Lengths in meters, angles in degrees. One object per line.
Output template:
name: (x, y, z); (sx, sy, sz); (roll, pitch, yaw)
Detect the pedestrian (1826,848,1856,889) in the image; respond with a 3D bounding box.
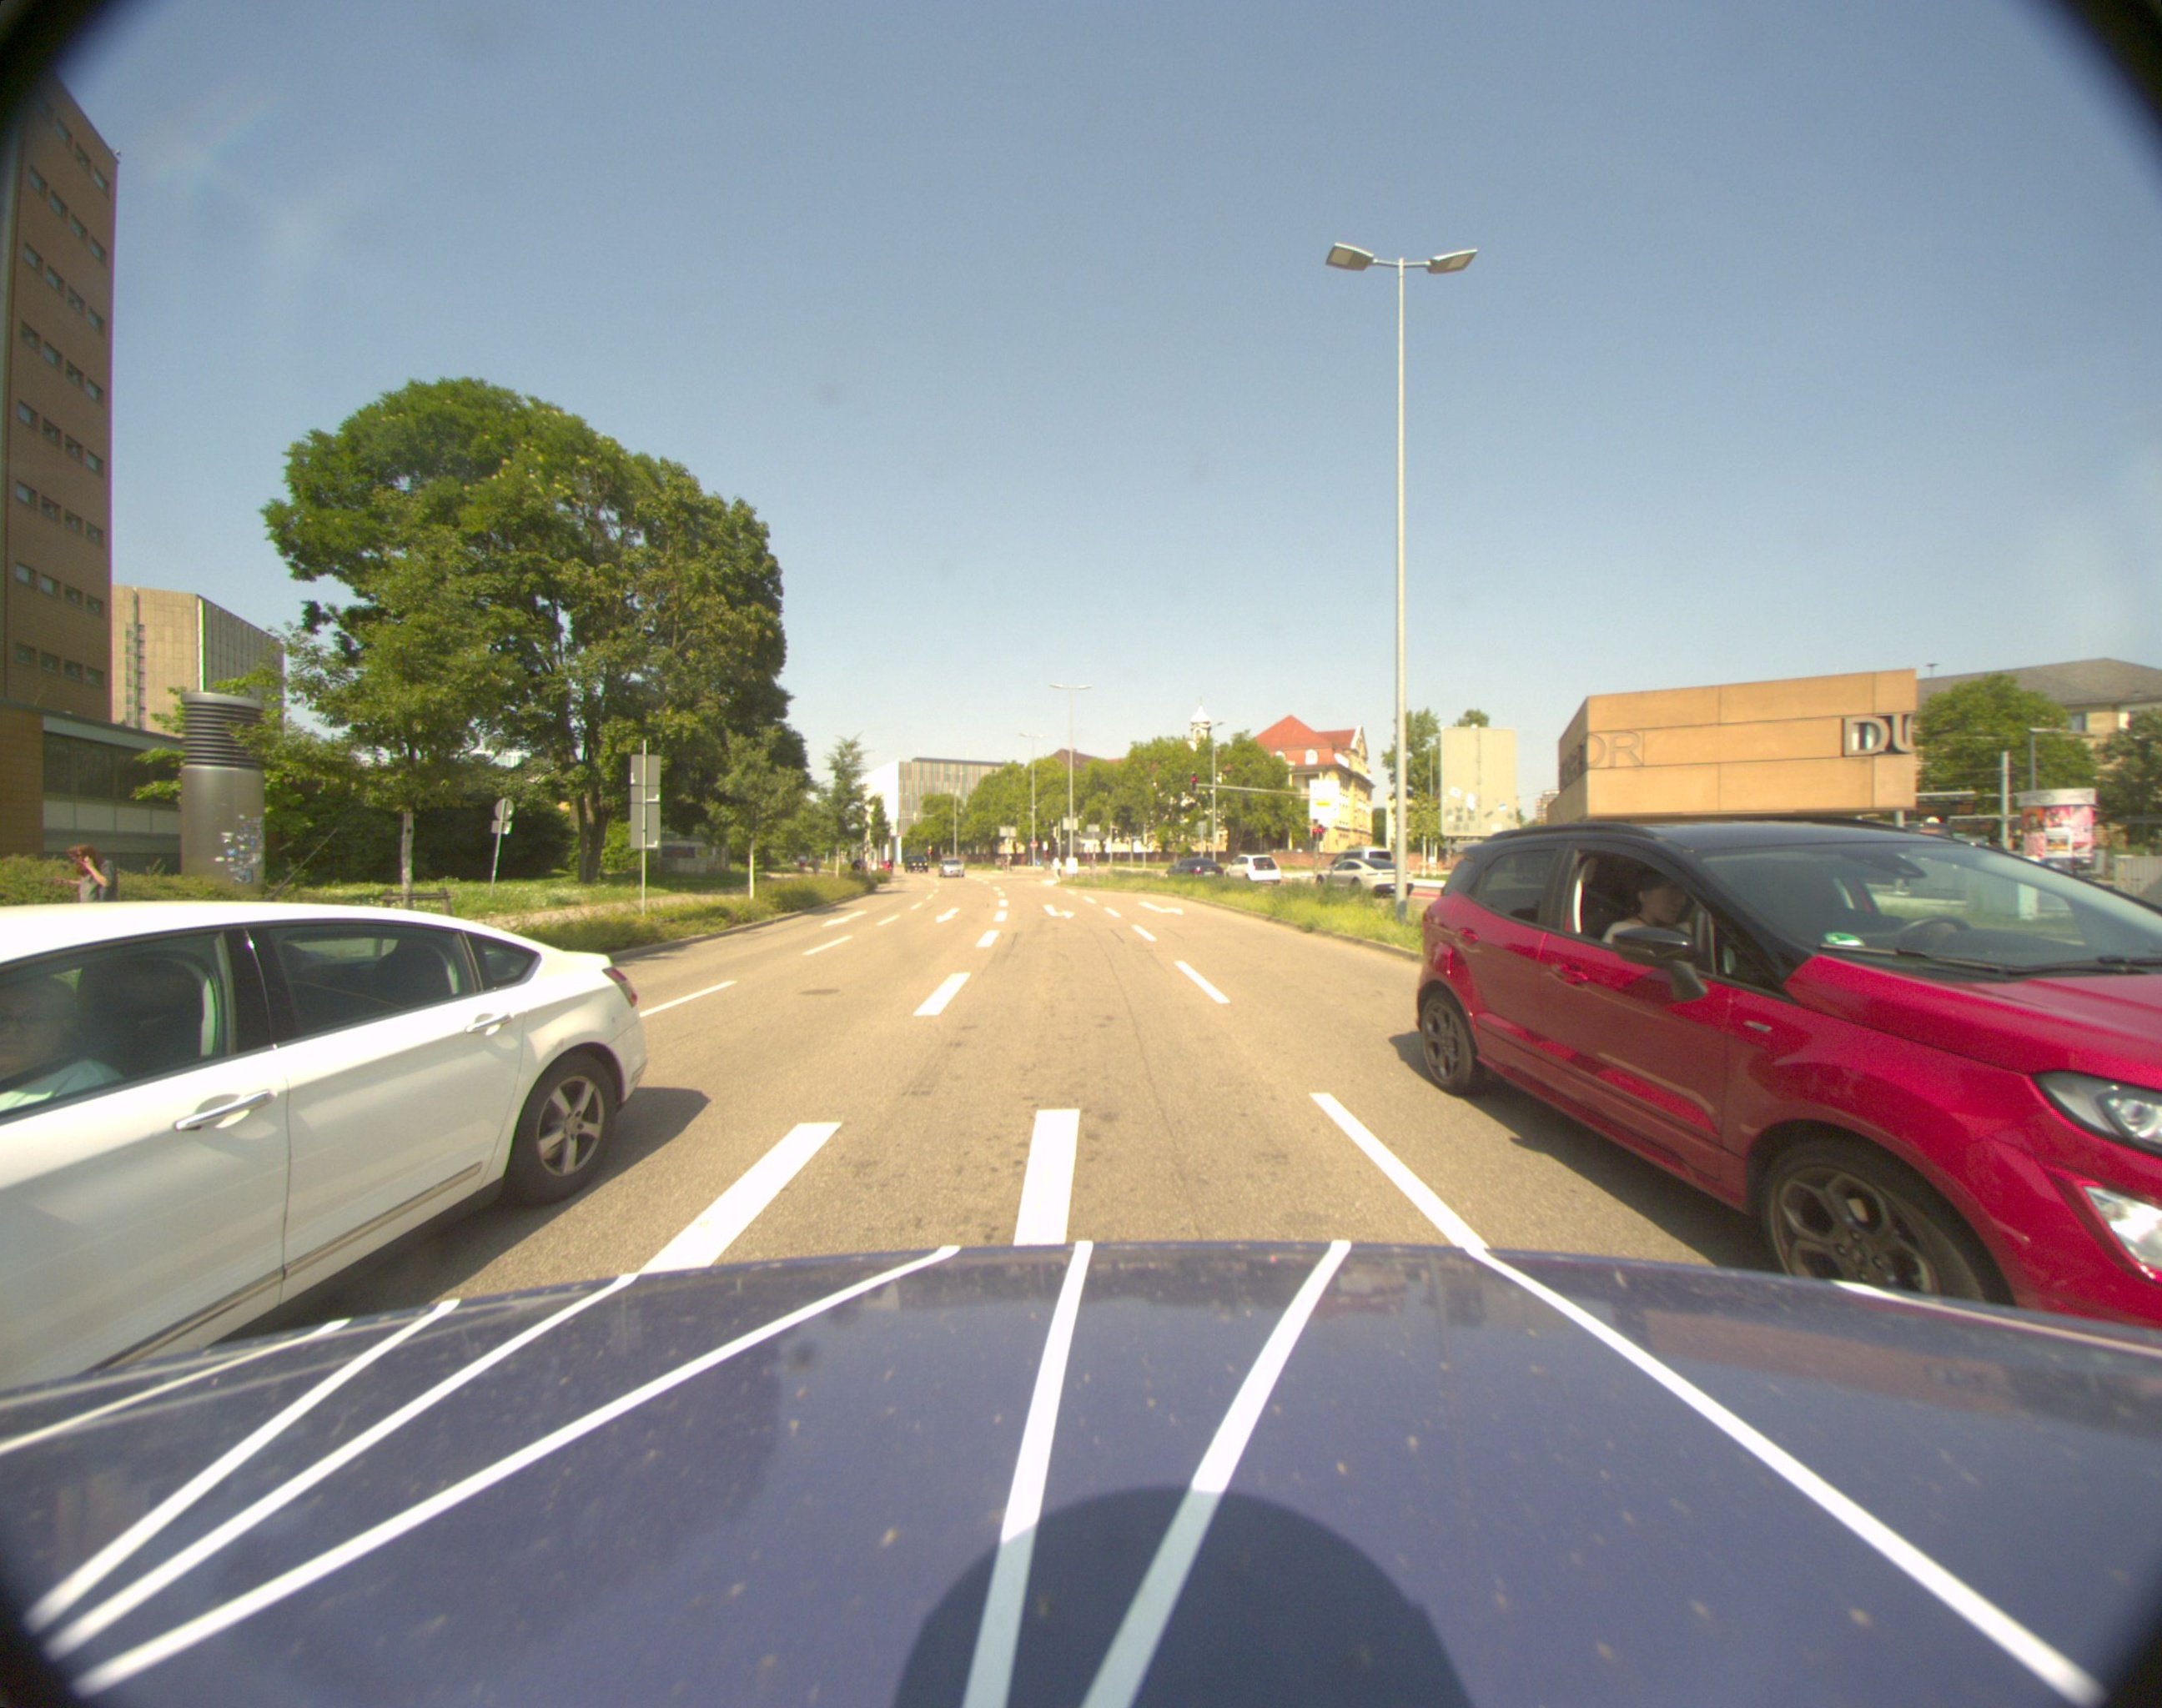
pedestrian: (27.936, 0.512, 27.941); (0.539, 1.488, 0.541); (0, 1, -1)

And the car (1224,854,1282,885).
car: (8.671, 0.745, 38.561); (1.527, 1.470, 3.473); (0, 0, -13)

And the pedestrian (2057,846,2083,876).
pedestrian: (45.550, 0.319, 34.993); (0.554, 1.386, 0.534); (0, 1, 28)

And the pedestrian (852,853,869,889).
pedestrian: (-11.794, 0.912, 40.701); (0.823, 1.892, 0.630); (-1, 1, -12)

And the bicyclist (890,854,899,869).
bicyclist: (-17.832, 0.721, 72.644); (0.680, 1.392, 1.048); (-1, 1, -19)

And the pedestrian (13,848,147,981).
pedestrian: (-13.220, 0.772, 10.063); (0.672, 1.689, 0.806); (0, 0, -1)

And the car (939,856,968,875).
car: (-10.655, 0.936, 63.141); (1.661, 1.521, 4.526); (-2, 0, -18)

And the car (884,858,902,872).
car: (-20.605, 1.177, 83.161); (1.652, 1.422, 3.810); (-2, 0, -18)

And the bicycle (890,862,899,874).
bicycle: (-17.871, 1.326, 72.747); (0.595, 1.162, 2.231); (-1, 0, -19)

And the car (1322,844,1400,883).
car: (13.810, 0.431, 37.743); (1.869, 1.843, 3.911); (0, 1, -12)

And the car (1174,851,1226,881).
car: (5.729, 0.551, 36.869); (1.526, 1.417, 3.474); (0, 0, -8)

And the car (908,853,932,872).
car: (-17.576, 0.912, 82.702); (1.893, 1.908, 4.526); (-2, 0, -20)

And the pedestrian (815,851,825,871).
pedestrian: (-17.726, 0.464, 51.570); (0.577, 1.291, 0.436); (-3, 1, -19)

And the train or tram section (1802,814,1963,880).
train or tram section: (48.180, -0.391, 46.310); (2.698, 3.418, 13.446); (0, 0, 28)

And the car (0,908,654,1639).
car: (-3.263, 1.019, 1.857); (1.773, 1.420, 4.609); (0, 0, 1)

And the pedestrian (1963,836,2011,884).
pedestrian: (28.160, 0.188, 23.620); (0.771, 1.488, 0.606); (0, 1, -1)

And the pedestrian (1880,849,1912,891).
pedestrian: (28.774, 0.555, 26.825); (0.539, 1.488, 0.541); (0, 1, -1)

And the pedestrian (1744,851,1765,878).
pedestrian: (26.887, 0.416, 30.324); (0.538, 1.093, 0.543); (0, 1, 32)

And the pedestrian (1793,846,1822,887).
pedestrian: (26.708, 0.455, 27.925); (0.539, 1.488, 0.541); (0, 1, -1)

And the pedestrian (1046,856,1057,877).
pedestrian: (-1.875, 0.813, 48.556); (0.605, 1.291, 0.617); (-2, 1, -4)

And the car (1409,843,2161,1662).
car: (3.043, 0.774, 3.299); (1.694, 1.577, 3.845); (-2, 0, 3)

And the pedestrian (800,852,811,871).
pedestrian: (-18.569, 0.502, 51.202); (0.635, 1.291, 0.486); (-3, 1, -17)

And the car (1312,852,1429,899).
car: (10.561, 0.728, 28.137); (2.000, 1.576, 4.711); (0, 0, -8)
